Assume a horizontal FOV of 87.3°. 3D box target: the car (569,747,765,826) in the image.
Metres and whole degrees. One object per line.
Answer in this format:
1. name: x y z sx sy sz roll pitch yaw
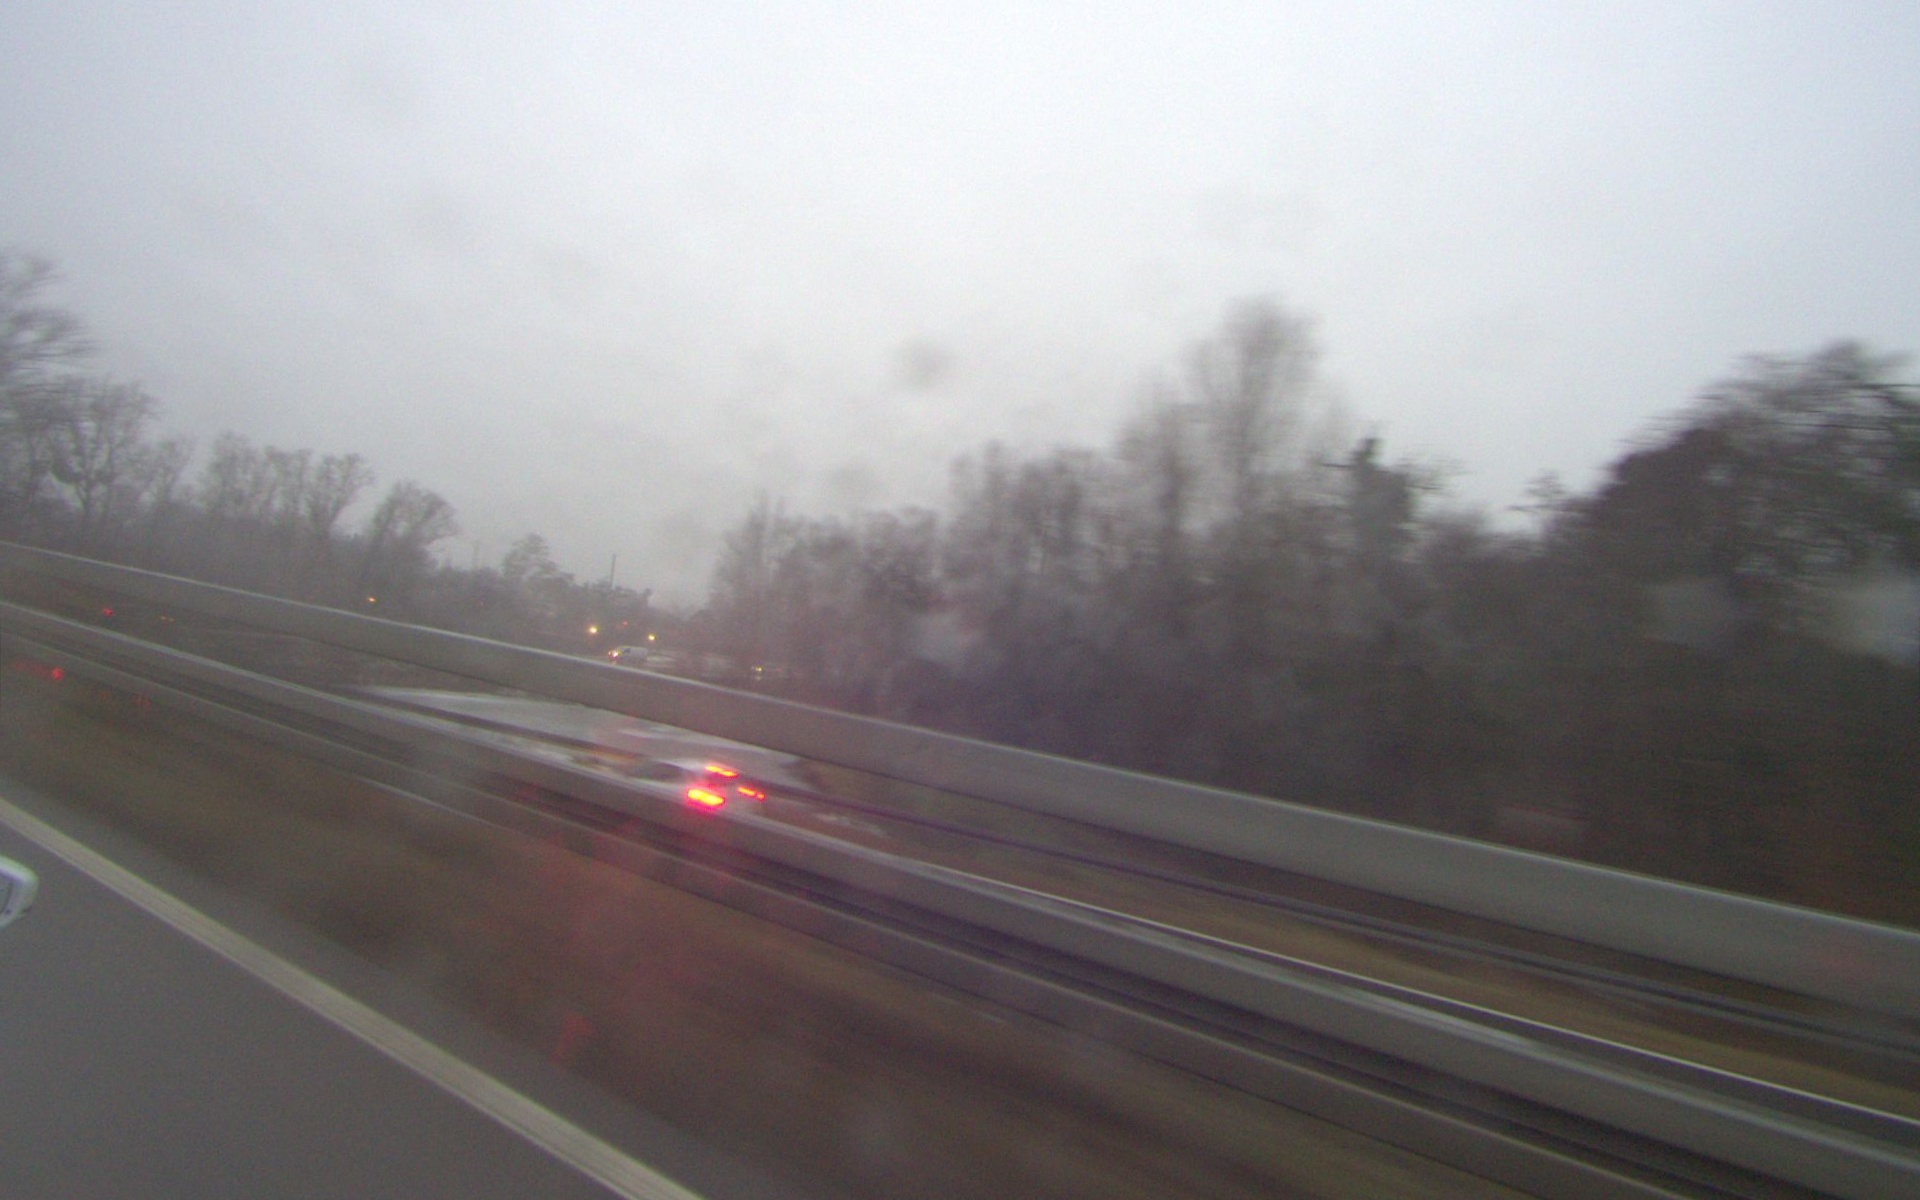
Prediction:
1. car: -6.303 3.978 21.555 3.937 1.292 1.684 -1 -11 31
